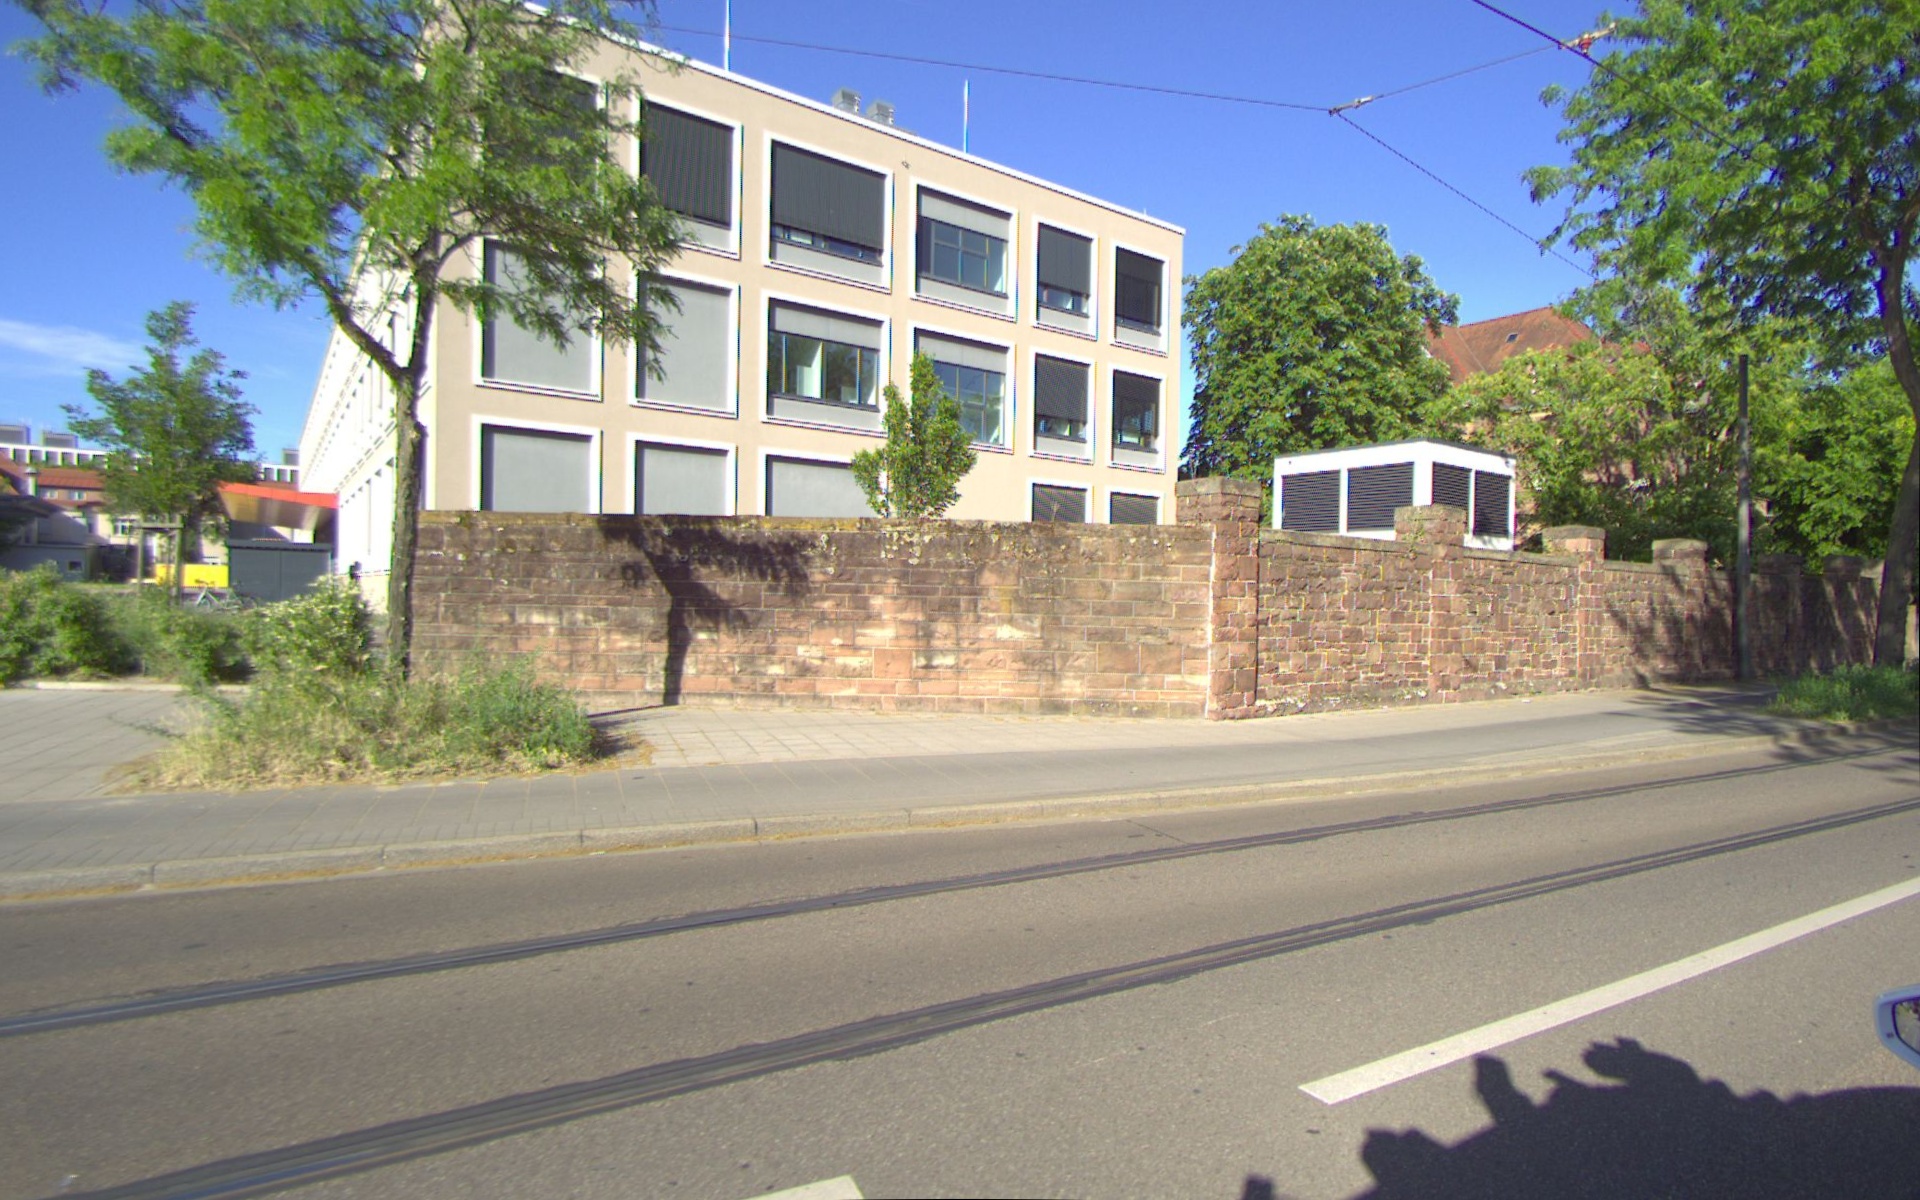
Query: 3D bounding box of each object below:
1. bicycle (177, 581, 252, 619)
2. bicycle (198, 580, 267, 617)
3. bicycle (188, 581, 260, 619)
[{"bbox_3d":[-21.176,0.009,28.563,1.687,1.075,0.456,1,0,-40],"label":"bicycle"},{"bbox_3d":[-21.831,-0.040,30.174,1.671,1.076,0.456,0,3,-37],"label":"bicycle"},{"bbox_3d":[-21.445,0.000,29.297,1.671,1.075,0.456,1,0,-37],"label":"bicycle"}]
